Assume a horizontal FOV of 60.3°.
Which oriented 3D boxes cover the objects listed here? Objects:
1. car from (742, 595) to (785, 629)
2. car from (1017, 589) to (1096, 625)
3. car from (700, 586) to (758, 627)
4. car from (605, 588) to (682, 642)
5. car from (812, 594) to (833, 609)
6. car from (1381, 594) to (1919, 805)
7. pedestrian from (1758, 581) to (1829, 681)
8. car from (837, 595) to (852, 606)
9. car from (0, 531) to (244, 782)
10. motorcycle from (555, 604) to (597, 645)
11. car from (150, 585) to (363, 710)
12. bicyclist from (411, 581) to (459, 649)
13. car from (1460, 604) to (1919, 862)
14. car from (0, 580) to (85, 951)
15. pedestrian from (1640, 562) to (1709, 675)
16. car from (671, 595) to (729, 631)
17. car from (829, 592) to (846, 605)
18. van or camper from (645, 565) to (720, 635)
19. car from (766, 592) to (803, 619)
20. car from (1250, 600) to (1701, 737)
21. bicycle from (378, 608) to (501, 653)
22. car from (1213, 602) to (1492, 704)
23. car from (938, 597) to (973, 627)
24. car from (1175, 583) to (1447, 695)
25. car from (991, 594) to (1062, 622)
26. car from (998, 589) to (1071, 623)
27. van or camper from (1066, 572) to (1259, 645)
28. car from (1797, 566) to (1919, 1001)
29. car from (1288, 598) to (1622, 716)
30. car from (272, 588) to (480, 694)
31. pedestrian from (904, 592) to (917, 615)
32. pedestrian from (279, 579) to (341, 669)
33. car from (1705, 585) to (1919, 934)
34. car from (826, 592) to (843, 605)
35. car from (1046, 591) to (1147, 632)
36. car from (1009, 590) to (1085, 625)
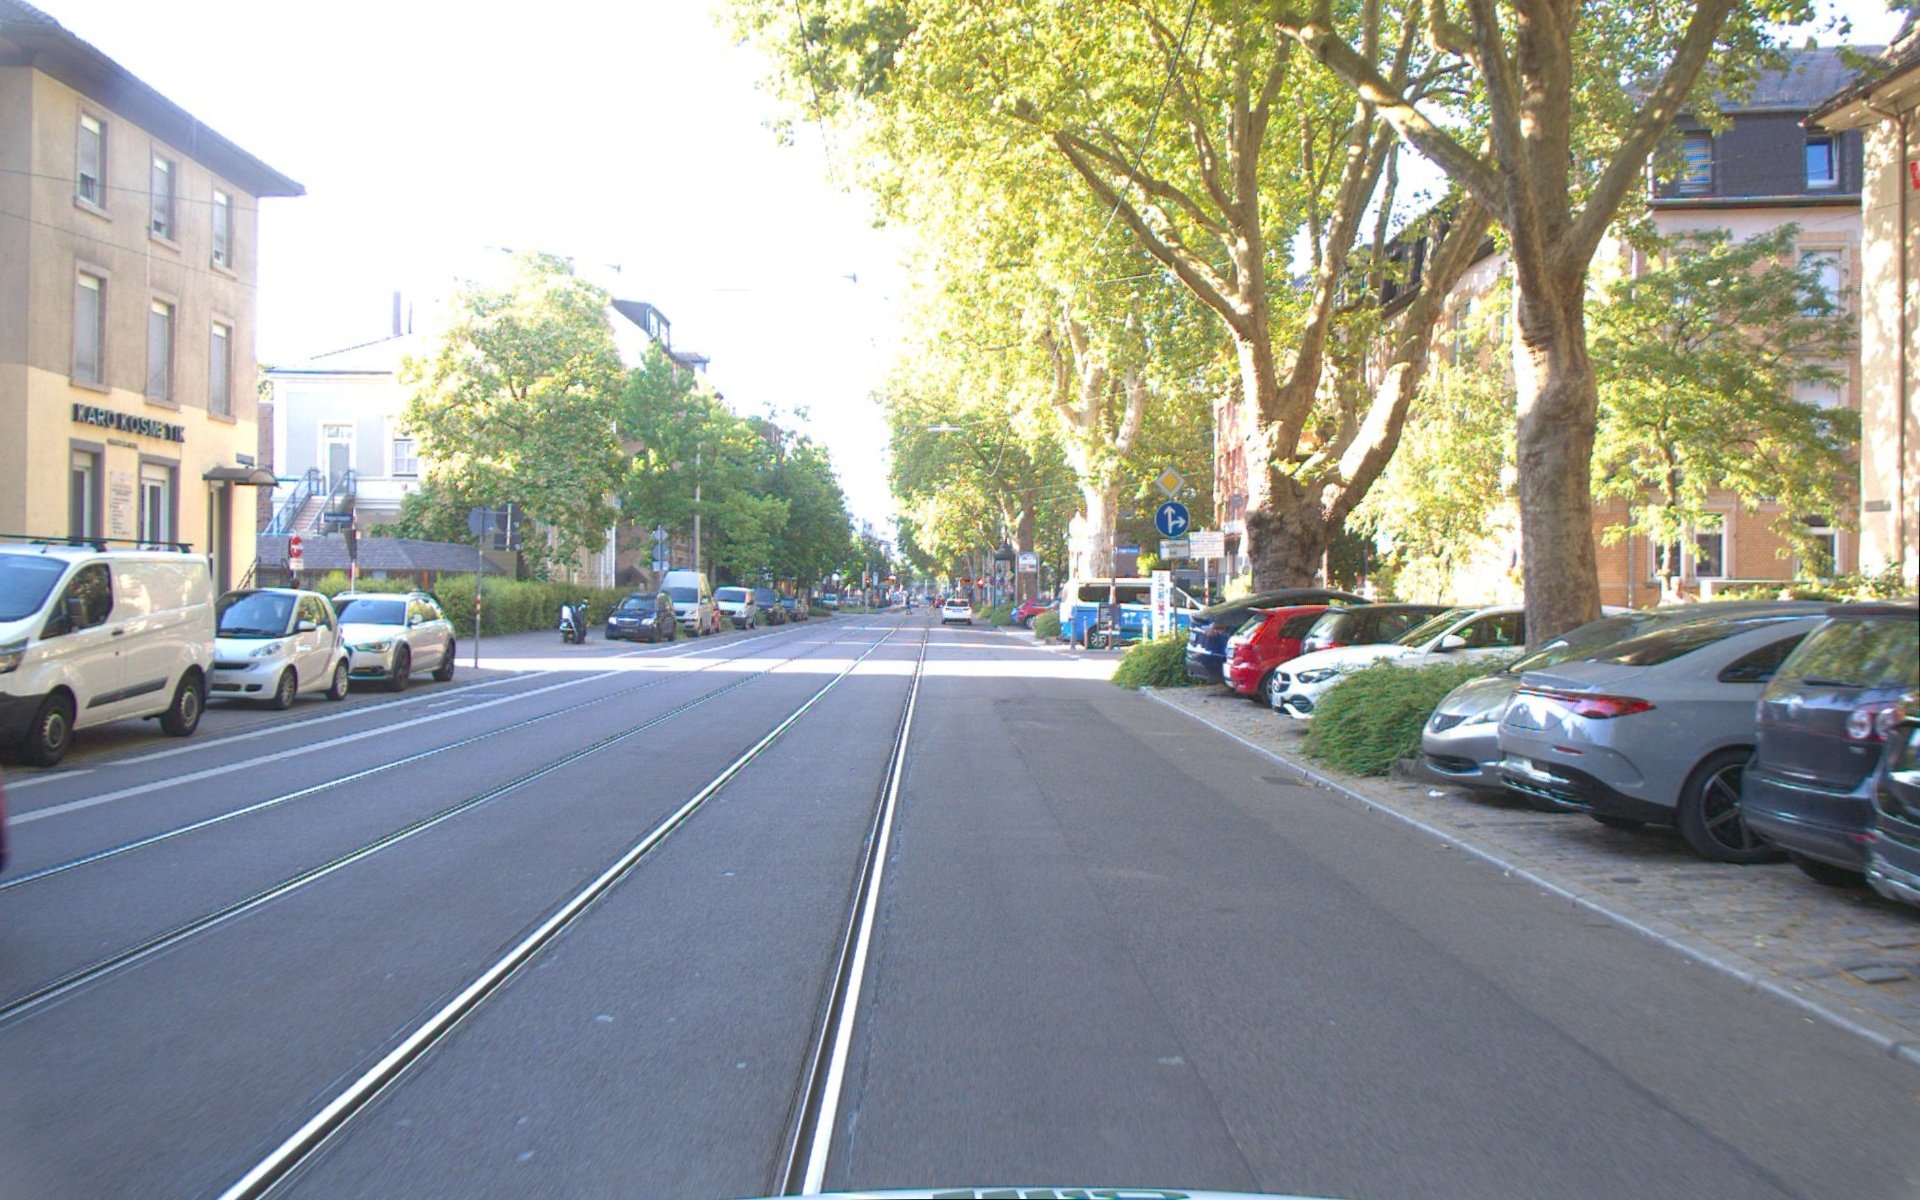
[{"bbox_3d":[-10.996,0.652,92.808,1.953,1.893,4.178,0,0,-1],"label":"car"},{"bbox_3d":[4.917,0.367,84.588,3.906,1.816,2.000,0,0,-1],"label":"car"},{"bbox_3d":[-10.909,0.282,78.395,2.129,1.893,4.658,0,0,-1],"label":"car"},{"bbox_3d":[-10.386,0.461,54.494,1.751,1.614,4.342,3,0,-2],"label":"car"},{"bbox_3d":[-13.028,0.138,156.888,1.880,1.443,3.718,0,0,-3],"label":"car"},{"bbox_3d":[5.570,0.726,13.026,4.057,1.535,1.796,0,0,-1],"label":"car"},{"bbox_3d":[12.500,0.458,24.832,0.648,1.480,0.821,0,0,-1],"label":"pedestrian"},{"bbox_3d":[-14.758,0.068,211.370,1.880,1.443,3.588,0,0,-3],"label":"car"},{"bbox_3d":[-9.300,0.403,16.779,1.913,2.127,5.246,3,1,-3],"label":"car"},{"bbox_3d":[-11.672,0.737,50.356,0.748,1.126,2.329,1,2,-1],"label":"motorcycle"},{"bbox_3d":[-9.563,0.612,22.710,1.539,1.553,3.040,2,0,1],"label":"car"},{"bbox_3d":[-13.427,0.374,42.330,1.027,1.735,1.055,0,0,-10],"label":"bicyclist"},{"bbox_3d":[5.590,0.767,10.549,4.209,1.464,1.947,0,0,-2],"label":"car"},{"bbox_3d":[-4.693,0.689,5.393,1.629,1.505,3.950,-1,0,-1],"label":"car"},{"bbox_3d":[11.412,0.292,26.436,0.745,1.769,0.821,0,0,-1],"label":"pedestrian"},{"bbox_3d":[-10.826,0.518,69.084,1.838,1.486,4.206,0,0,-1],"label":"car"},{"bbox_3d":[-14.359,-0.186,193.529,1.881,1.443,3.586,-2,-1,-6],"label":"car"},{"bbox_3d":[-10.635,-0.007,63.724,2.037,2.577,5.316,0,0,-1],"label":"van or camper"},{"bbox_3d":[-11.518,0.349,108.723,1.953,1.775,4.658,0,0,-1],"label":"car"},{"bbox_3d":[5.781,0.746,18.958,4.591,1.472,1.892,0,0,-1],"label":"car"},{"bbox_3d":[-13.311,0.772,42.371,2.894,1.124,1.049,0,0,-11],"label":"bicycle"},{"bbox_3d":[5.577,0.734,23.822,3.575,1.402,1.889,0,0,-1],"label":"car"},{"bbox_3d":[-0.285,0.680,93.897,1.879,1.612,3.790,-1,0,-1],"label":"car"},{"bbox_3d":[5.456,0.585,26.044,3.845,1.699,1.960,0,0,-3],"label":"car"},{"bbox_3d":[3.686,0.428,92.418,3.906,1.547,2.000,0,0,-1],"label":"car"},{"bbox_3d":[4.029,0.314,90.118,3.906,1.816,2.000,0,0,-1],"label":"car"},{"bbox_3d":[6.056,0.239,49.968,5.447,2.048,2.242,0,3,-6],"label":"van or camper"},{"bbox_3d":[5.776,0.620,6.014,4.402,1.630,2.028,-2,0,3],"label":"car"},{"bbox_3d":[6.326,0.703,21.422,3.803,1.460,1.753,0,0,-1],"label":"car"},{"bbox_3d":[-9.496,0.603,27.350,1.799,1.494,5.067,3,0,-3],"label":"car"},{"bbox_3d":[-4.382,0.324,146.275,1.026,2.049,1.082,0,0,2],"label":"pedestrian"},{"bbox_3d":[-11.952,0.432,30.434,0.771,1.620,0.941,0,0,-1],"label":"pedestrian"},{"bbox_3d":[5.947,0.714,8.334,3.602,1.574,1.777,0,0,1],"label":"car"},{"bbox_3d":[-14.347,-0.186,189.283,1.880,1.443,3.588,0,0,-3],"label":"car"},{"bbox_3d":[5.454,0.448,66.520,3.906,1.637,2.000,0,0,-1],"label":"car"},{"bbox_3d":[4.544,0.363,86.864,3.906,1.816,2.000,0,0,-1],"label":"car"}]
